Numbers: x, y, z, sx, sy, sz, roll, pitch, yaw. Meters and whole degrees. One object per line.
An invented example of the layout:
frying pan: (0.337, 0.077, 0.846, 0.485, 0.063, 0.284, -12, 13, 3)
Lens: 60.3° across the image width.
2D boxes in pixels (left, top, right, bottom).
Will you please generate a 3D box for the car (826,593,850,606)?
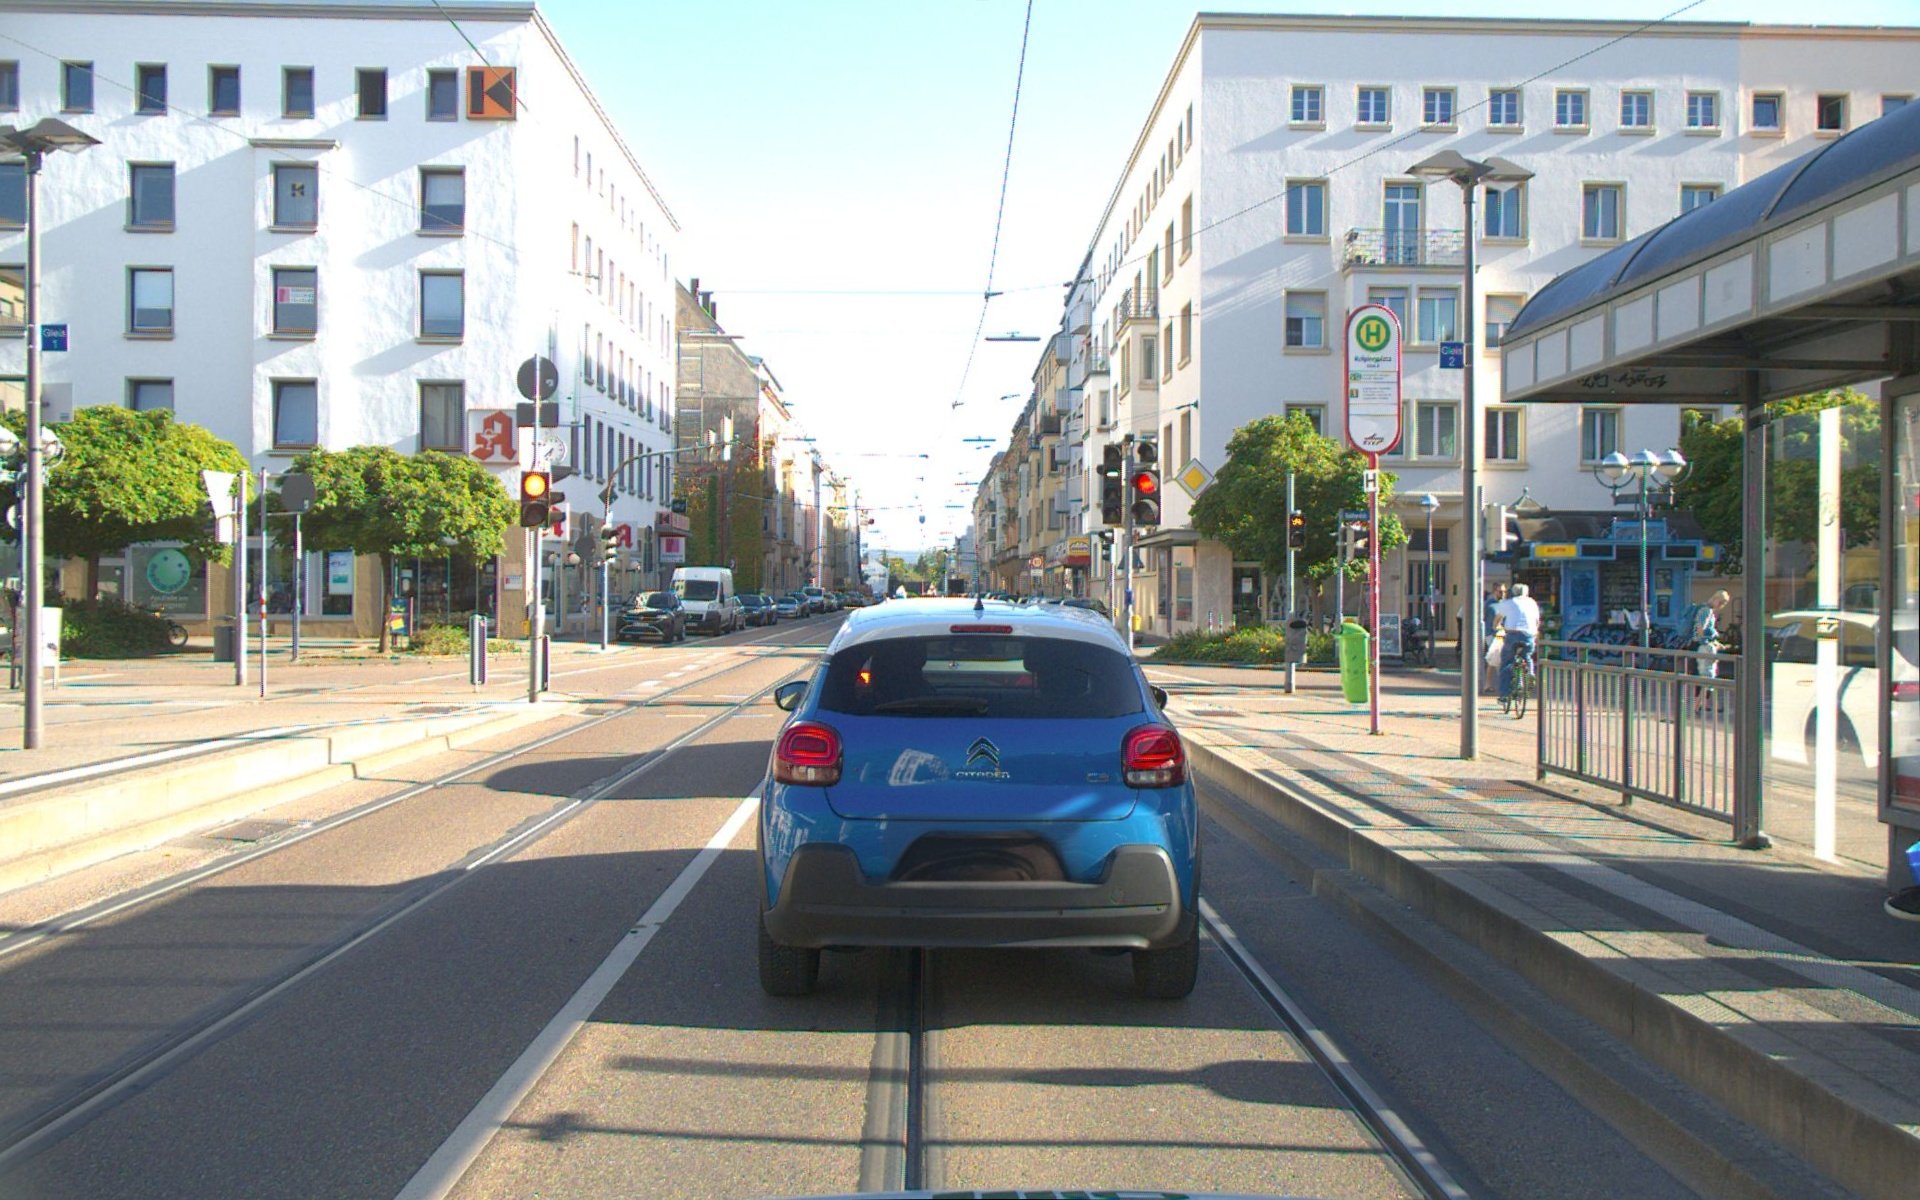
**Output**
car: (-11.362, -0.080, 153.954, 1.953, 1.176, 4.000, 0, 0, 0)

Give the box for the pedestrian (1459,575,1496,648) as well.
pedestrian: (13.352, 0.299, 42.658, 0.768, 1.871, 0.678, 0, 0, 2)

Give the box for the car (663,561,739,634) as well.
car: (-9.741, -0.098, 62.633, 2.043, 2.586, 6.203, 1, 0, -2)

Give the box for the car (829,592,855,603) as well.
car: (-13.190, -0.277, 184.639, 1.951, 1.176, 4.518, 0, 0, 8)

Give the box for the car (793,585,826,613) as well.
car: (-11.492, -0.079, 126.636, 1.965, 2.049, 4.690, 1, 0, 1)

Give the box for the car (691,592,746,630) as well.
car: (-10.093, 0.460, 69.345, 1.850, 1.522, 3.560, 1, 0, -2)

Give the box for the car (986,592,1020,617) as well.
car: (2.642, 0.280, 102.094, 1.953, 1.489, 4.504, 0, 0, 0)

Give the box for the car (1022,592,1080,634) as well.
car: (3.427, 0.481, 62.986, 1.953, 1.527, 4.000, 0, 0, 0)

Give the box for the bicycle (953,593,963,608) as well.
bicycle: (-0.172, 0.044, 149.830, 0.901, 1.413, 3.131, 0, 0, -1)

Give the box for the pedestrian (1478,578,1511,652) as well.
pedestrian: (13.654, 0.375, 42.263, 0.639, 1.871, 0.659, 0, 0, 2)

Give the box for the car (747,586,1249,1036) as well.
car: (0.101, 0.718, 7.566, 1.693, 1.508, 3.826, 1, 0, -1)

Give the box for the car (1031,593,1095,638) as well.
car: (3.521, 0.515, 57.122, 1.953, 1.489, 4.000, 0, 0, 0)

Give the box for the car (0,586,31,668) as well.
car: (-22.393, 0.567, 35.439, 3.906, 1.736, 1.825, 0, 0, -2)

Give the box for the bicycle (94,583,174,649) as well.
bicycle: (-21.340, 0.398, 42.800, 0.605, 1.635, 2.621, 0, 0, 3)

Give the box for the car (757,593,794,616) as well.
car: (-11.478, 0.305, 103.019, 1.953, 1.348, 3.921, 1, 0, -2)

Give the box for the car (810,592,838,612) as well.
car: (-11.201, 0.187, 136.468, 1.914, 1.579, 3.939, 1, 0, 1)

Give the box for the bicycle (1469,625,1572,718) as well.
bicycle: (7.306, 0.904, 21.663, 0.703, 1.080, 2.324, 2, 0, 4)

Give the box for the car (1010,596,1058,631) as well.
car: (3.233, 0.574, 73.012, 1.953, 1.489, 4.000, 0, 0, 0)

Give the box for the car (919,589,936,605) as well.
car: (-3.715, -0.319, 188.756, 1.953, 1.803, 3.999, 0, 0, -1)

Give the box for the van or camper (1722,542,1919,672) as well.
van or camper: (20.975, 0.120, 36.753, 6.976, 2.795, 2.371, 0, 1, 0)

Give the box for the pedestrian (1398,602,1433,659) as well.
pedestrian: (10.810, 0.719, 39.246, 0.725, 1.339, 0.628, 0, 0, 22)

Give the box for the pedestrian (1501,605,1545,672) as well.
pedestrian: (12.673, 0.856, 37.243, 0.715, 1.434, 0.755, 0, 3, -1)

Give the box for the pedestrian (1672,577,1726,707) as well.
pedestrian: (10.278, 0.583, 23.014, 0.546, 1.775, 0.527, 1, -1, 10)

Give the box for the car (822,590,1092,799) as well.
car: (-0.062, 0.684, 14.461, 1.944, 1.490, 4.814, 1, 0, -1)

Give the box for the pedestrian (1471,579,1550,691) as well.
pedestrian: (9.530, 0.604, 28.659, 0.961, 1.910, 1.128, 0, -1, -3)

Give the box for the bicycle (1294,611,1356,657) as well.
bicycle: (9.422, 0.877, 42.758, 1.534, 1.140, 0.300, 1, -1, 10)

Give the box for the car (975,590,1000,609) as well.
car: (2.180, -0.033, 133.249, 1.953, 1.489, 4.000, 0, 0, 0)

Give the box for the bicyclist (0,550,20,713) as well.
bicyclist: (-9.123, 0.283, 14.947, 0.812, 1.481, 0.875, 1, -1, -10)

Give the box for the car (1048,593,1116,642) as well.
car: (3.829, 0.520, 52.547, 1.870, 1.489, 4.000, 0, 0, 0)

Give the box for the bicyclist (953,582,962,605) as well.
bicyclist: (-0.223, -0.584, 149.812, 0.793, 2.049, 0.922, 1, -1, -1)

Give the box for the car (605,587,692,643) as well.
car: (-9.795, 0.458, 52.269, 1.953, 1.596, 4.401, 3, 0, -2)

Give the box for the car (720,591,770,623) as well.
car: (-10.103, 0.328, 77.956, 1.953, 1.422, 4.155, 1, 0, -2)

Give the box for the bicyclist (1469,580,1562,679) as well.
bicyclist: (7.312, 0.380, 21.799, 0.931, 1.247, 0.934, 2, 0, 5)

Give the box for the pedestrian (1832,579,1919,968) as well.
pedestrian: (3.583, 0.580, 5.359, 0.978, 1.246, 0.923, 3, -1, -1)

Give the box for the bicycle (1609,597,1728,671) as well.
bicycle: (15.885, 0.751, 37.099, 2.336, 1.558, 0.726, 2, 0, -2)

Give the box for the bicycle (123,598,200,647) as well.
bicycle: (-20.631, 0.558, 42.786, 0.605, 1.211, 2.621, 0, 0, 2)

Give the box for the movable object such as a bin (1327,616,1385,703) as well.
movable object such as a bin: (3.733, 0.558, 15.619, 0.439, 0.800, 0.489, 0, 0, 2)

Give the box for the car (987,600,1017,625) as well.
car: (2.784, 0.812, 109.652, 1.952, 1.579, 4.001, 0, 0, 1)

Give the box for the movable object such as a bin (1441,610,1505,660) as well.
movable object such as a bin: (12.529, 0.844, 40.439, 1.174, 1.173, 1.217, 0, 0, 0)

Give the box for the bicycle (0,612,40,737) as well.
bicycle: (-9.142, 0.684, 15.010, 0.714, 1.132, 1.973, 1, 0, -9)
